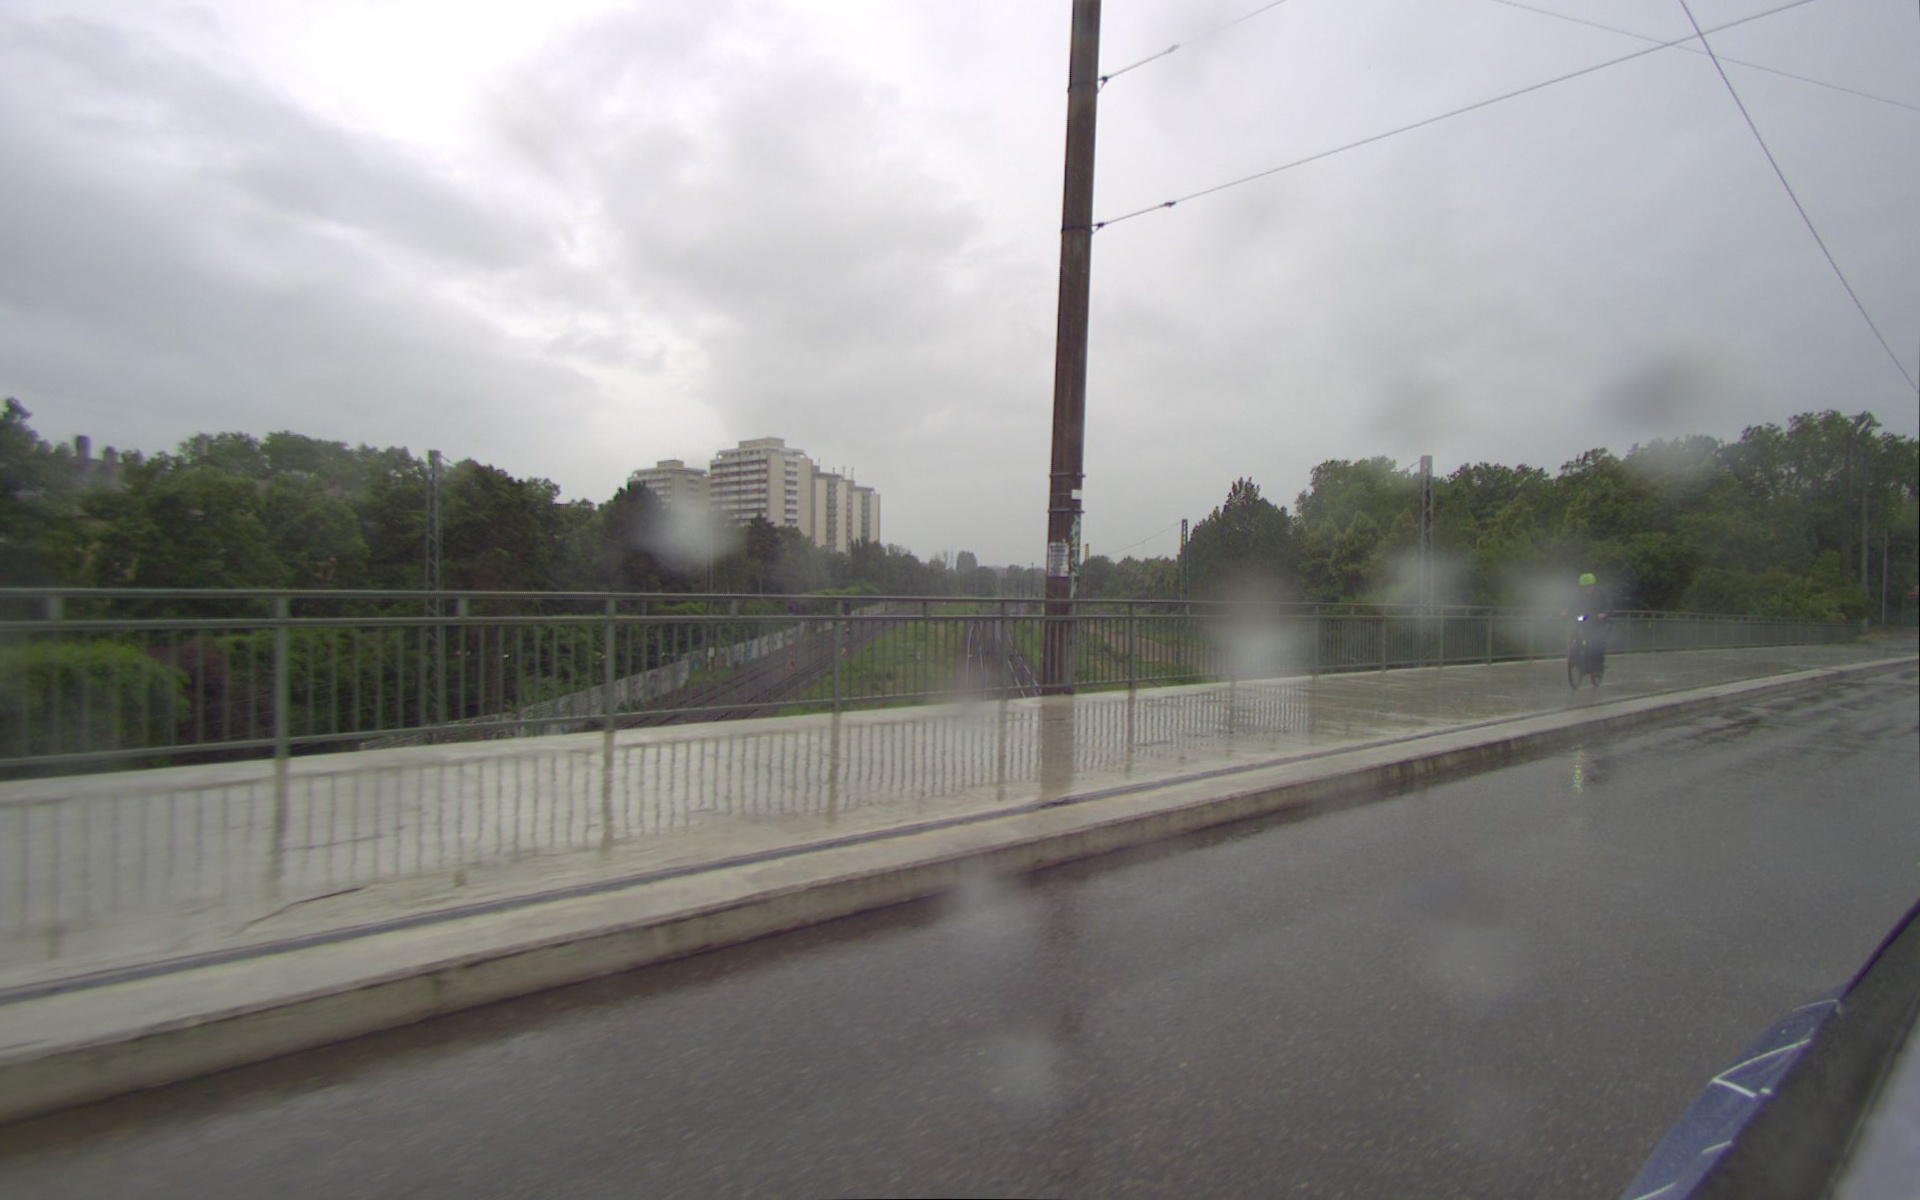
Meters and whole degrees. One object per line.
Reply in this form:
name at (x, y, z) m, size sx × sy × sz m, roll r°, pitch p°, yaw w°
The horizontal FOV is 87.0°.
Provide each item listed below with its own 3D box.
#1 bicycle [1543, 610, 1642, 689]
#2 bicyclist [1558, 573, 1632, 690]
bicycle at (9.993, 0.745, 15.957) m, size 2.130 × 1.143 × 0.724 m, roll 0°, pitch -1°, yaw -41°
bicyclist at (10.039, 0.475, 16.003) m, size 0.933 × 1.786 × 0.726 m, roll -1°, pitch 0°, yaw -41°
